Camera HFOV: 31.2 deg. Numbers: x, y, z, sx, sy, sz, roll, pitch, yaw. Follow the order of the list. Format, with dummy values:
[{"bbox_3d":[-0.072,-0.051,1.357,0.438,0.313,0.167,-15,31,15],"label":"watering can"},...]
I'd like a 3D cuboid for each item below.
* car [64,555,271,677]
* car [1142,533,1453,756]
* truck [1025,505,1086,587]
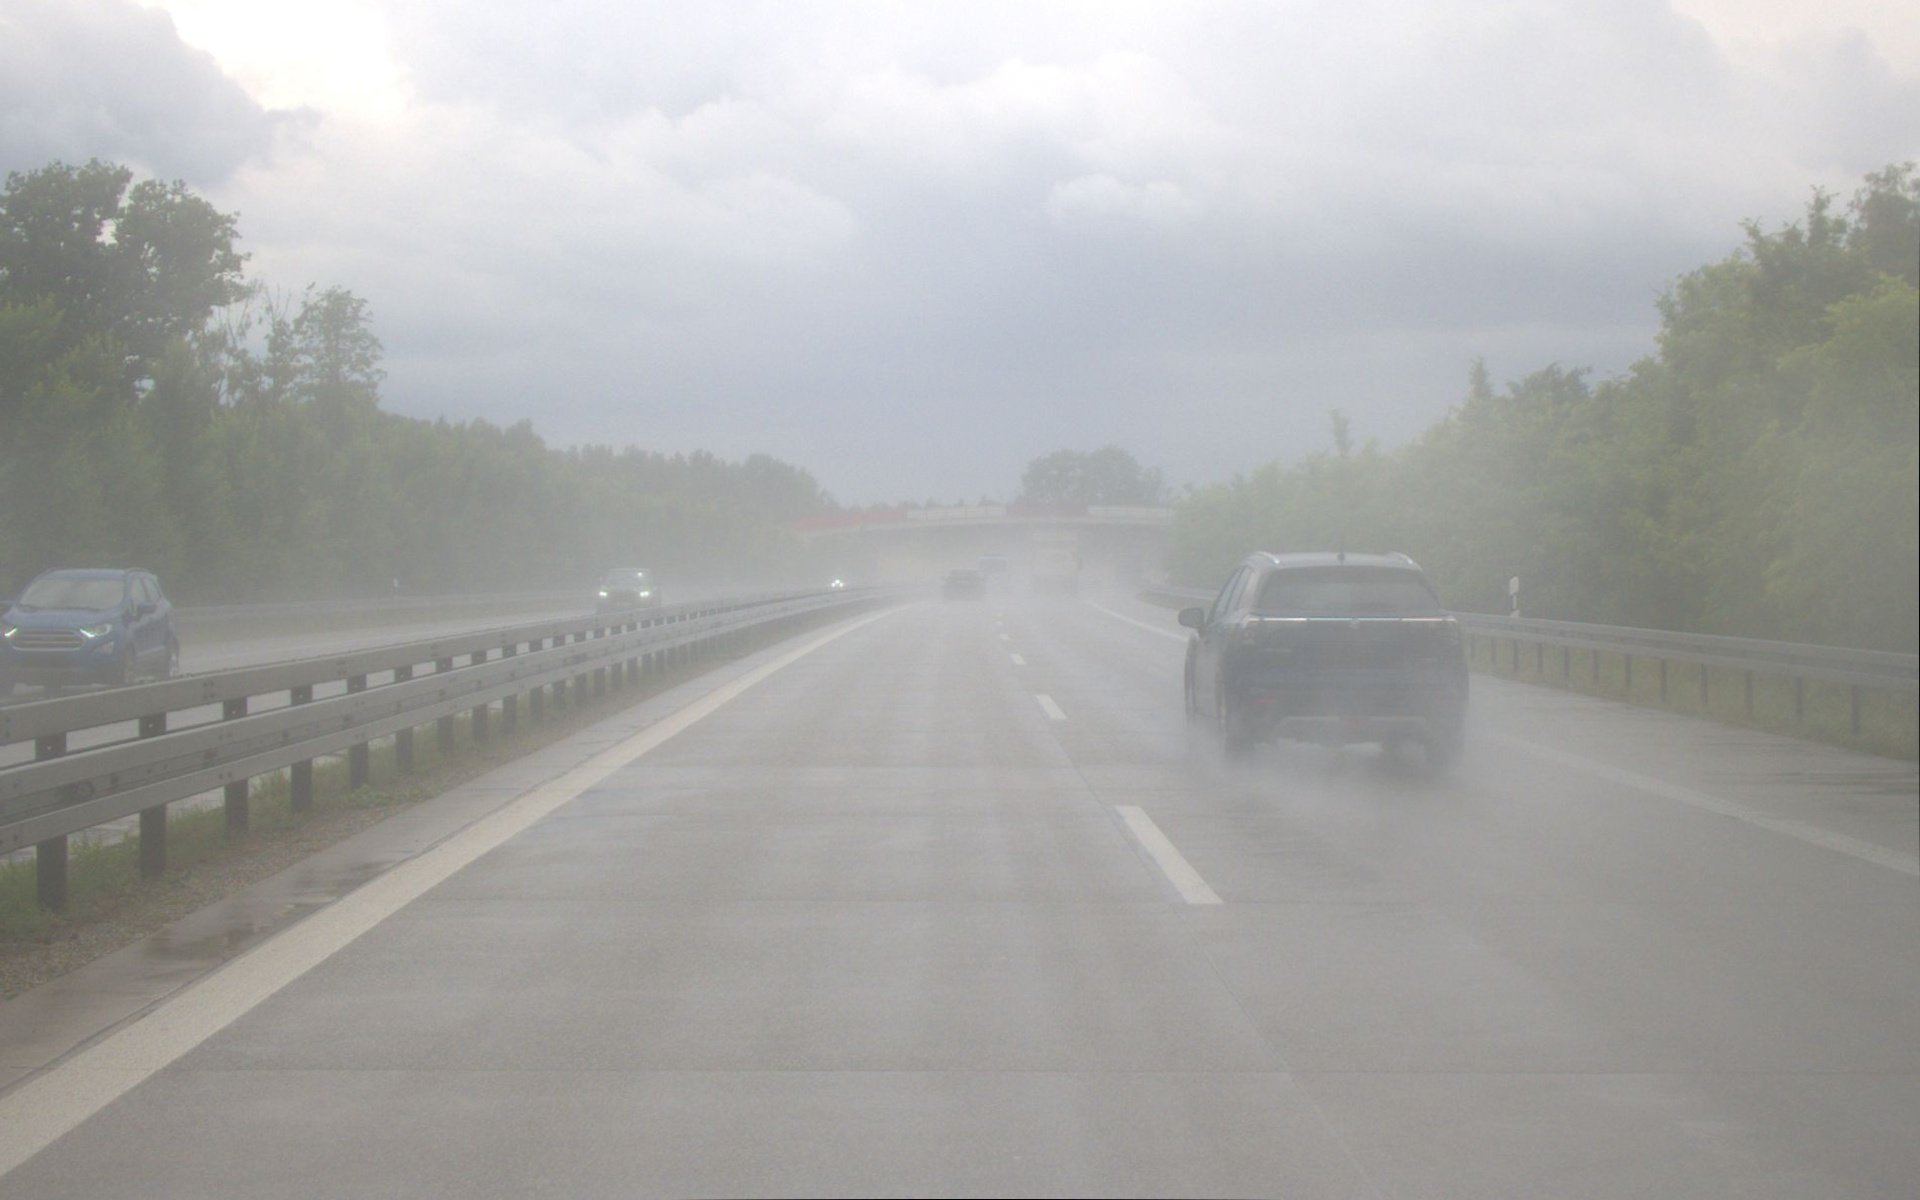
[{"bbox_3d":[-11.587,0.192,50.587,1.993,1.593,4.791,-2,1,-1],"label":"car"},{"bbox_3d":[2.500,0.320,26.291,1.894,1.571,3.632,1,0,-2],"label":"car"},{"bbox_3d":[5.287,-2.935,189.292,3.244,4.422,8.245,0,0,2],"label":"truck"}]
